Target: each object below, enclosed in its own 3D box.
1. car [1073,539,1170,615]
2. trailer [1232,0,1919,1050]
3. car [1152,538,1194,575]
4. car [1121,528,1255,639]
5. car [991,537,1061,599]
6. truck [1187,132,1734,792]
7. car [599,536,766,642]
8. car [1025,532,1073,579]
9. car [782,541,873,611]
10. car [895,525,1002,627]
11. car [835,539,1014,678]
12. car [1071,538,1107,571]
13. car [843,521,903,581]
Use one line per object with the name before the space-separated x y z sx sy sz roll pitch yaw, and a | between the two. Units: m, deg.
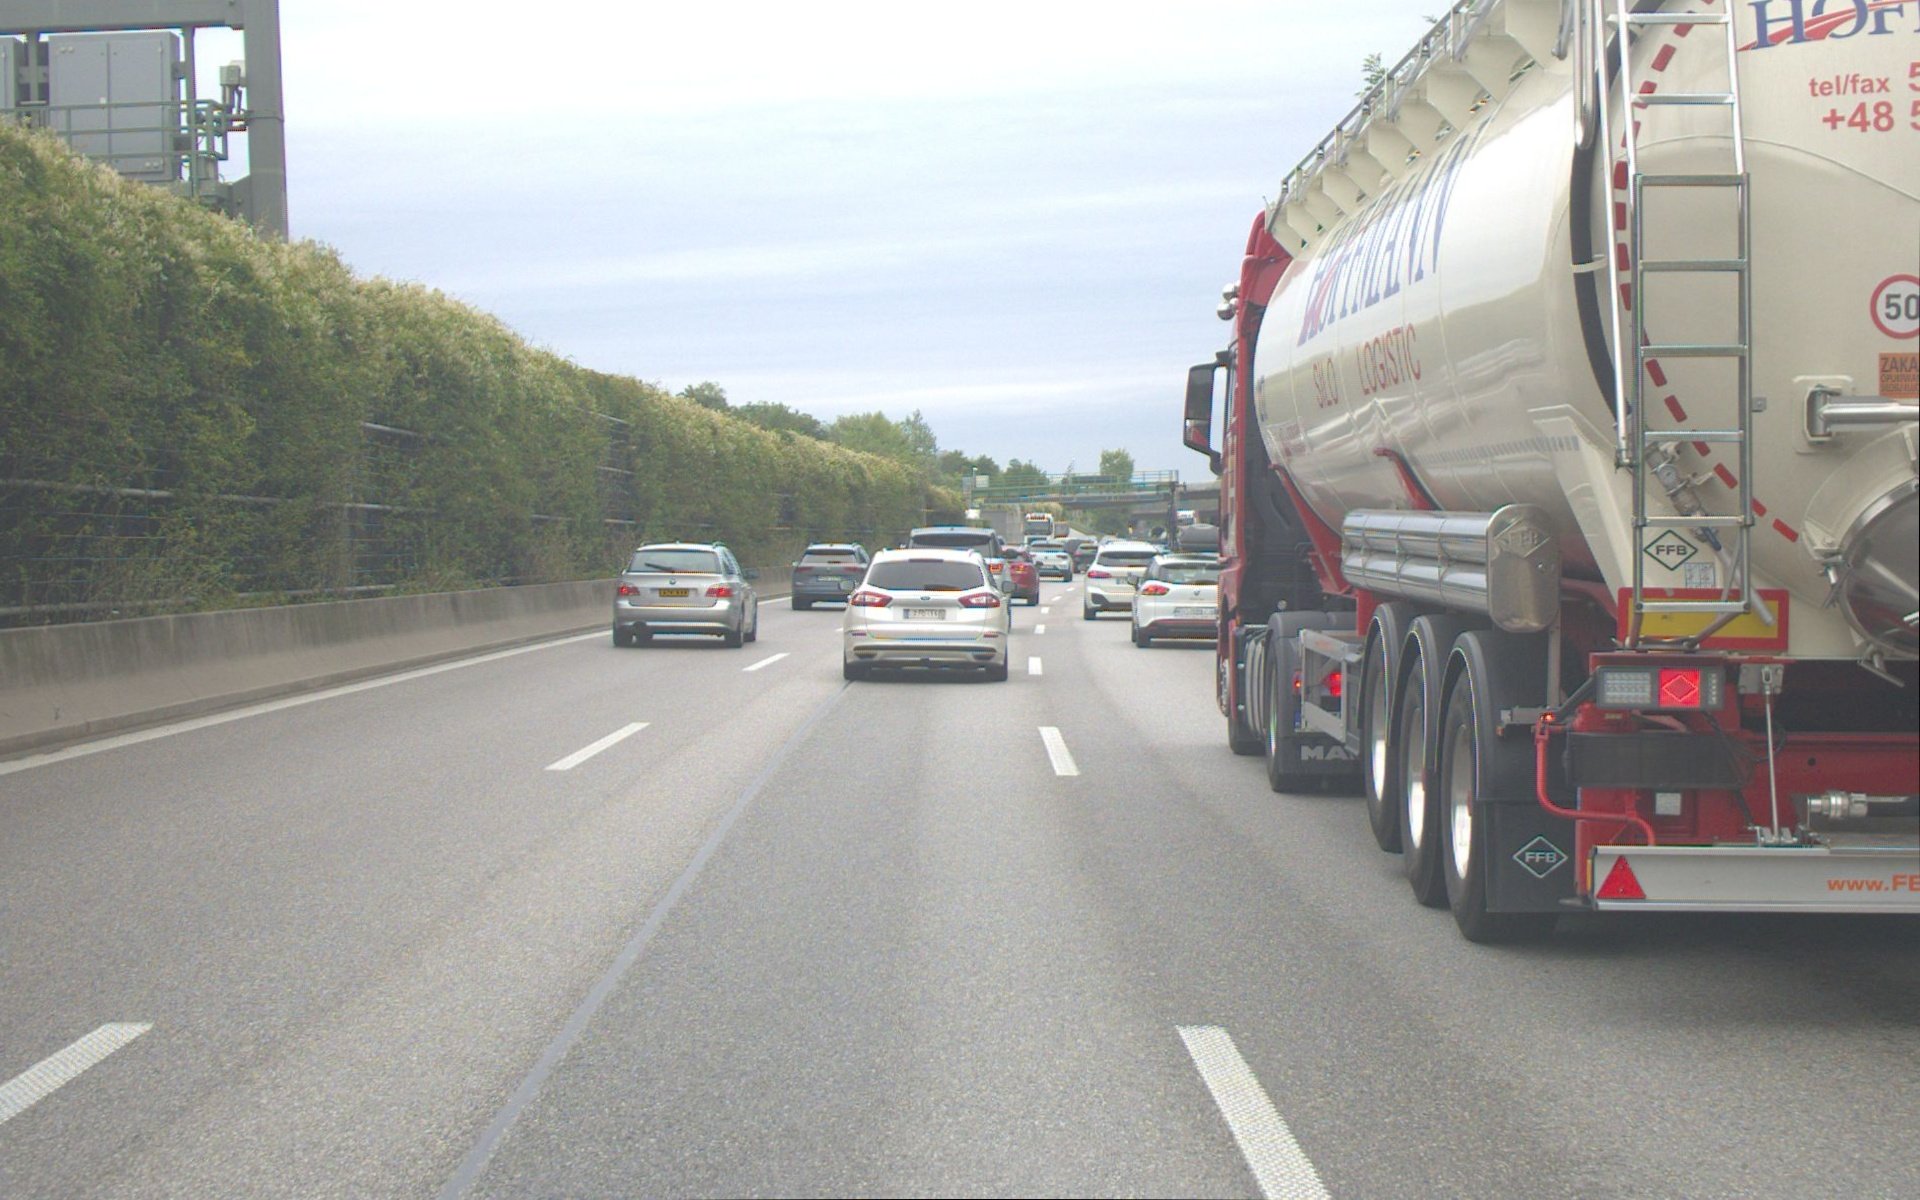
car | 3.281 -0.481 70.573 1.689 1.501 3.872 0 1 -2
trailer | 3.202 -0.711 16.644 2.668 3.925 13.130 0 1 0
car | 9.024 -1.865 145.951 1.689 1.534 3.871 0 1 2
car | 3.443 -0.281 52.618 1.816 1.620 5.030 0 1 1
car | 1.638 -0.801 84.729 1.689 1.501 3.871 0 1 1
truck | 3.179 -0.849 23.618 2.695 3.899 6.557 0 1 -1
car | -3.987 -0.155 50.133 1.720 1.464 5.029 0 0 4
car | 3.451 -1.728 133.541 1.790 1.773 3.871 -1 1 1
car | -2.920 -0.553 76.742 1.720 1.507 5.030 0 1 1
car | -0.210 -0.442 58.859 1.689 1.501 3.872 4 2 -1
car | -0.342 0.049 39.646 1.892 1.499 5.030 0 1 1
car | 6.133 -2.174 163.180 1.689 1.534 3.871 0 1 3
car | -2.985 -1.690 117.651 1.993 2.007 3.841 0 1 -2
